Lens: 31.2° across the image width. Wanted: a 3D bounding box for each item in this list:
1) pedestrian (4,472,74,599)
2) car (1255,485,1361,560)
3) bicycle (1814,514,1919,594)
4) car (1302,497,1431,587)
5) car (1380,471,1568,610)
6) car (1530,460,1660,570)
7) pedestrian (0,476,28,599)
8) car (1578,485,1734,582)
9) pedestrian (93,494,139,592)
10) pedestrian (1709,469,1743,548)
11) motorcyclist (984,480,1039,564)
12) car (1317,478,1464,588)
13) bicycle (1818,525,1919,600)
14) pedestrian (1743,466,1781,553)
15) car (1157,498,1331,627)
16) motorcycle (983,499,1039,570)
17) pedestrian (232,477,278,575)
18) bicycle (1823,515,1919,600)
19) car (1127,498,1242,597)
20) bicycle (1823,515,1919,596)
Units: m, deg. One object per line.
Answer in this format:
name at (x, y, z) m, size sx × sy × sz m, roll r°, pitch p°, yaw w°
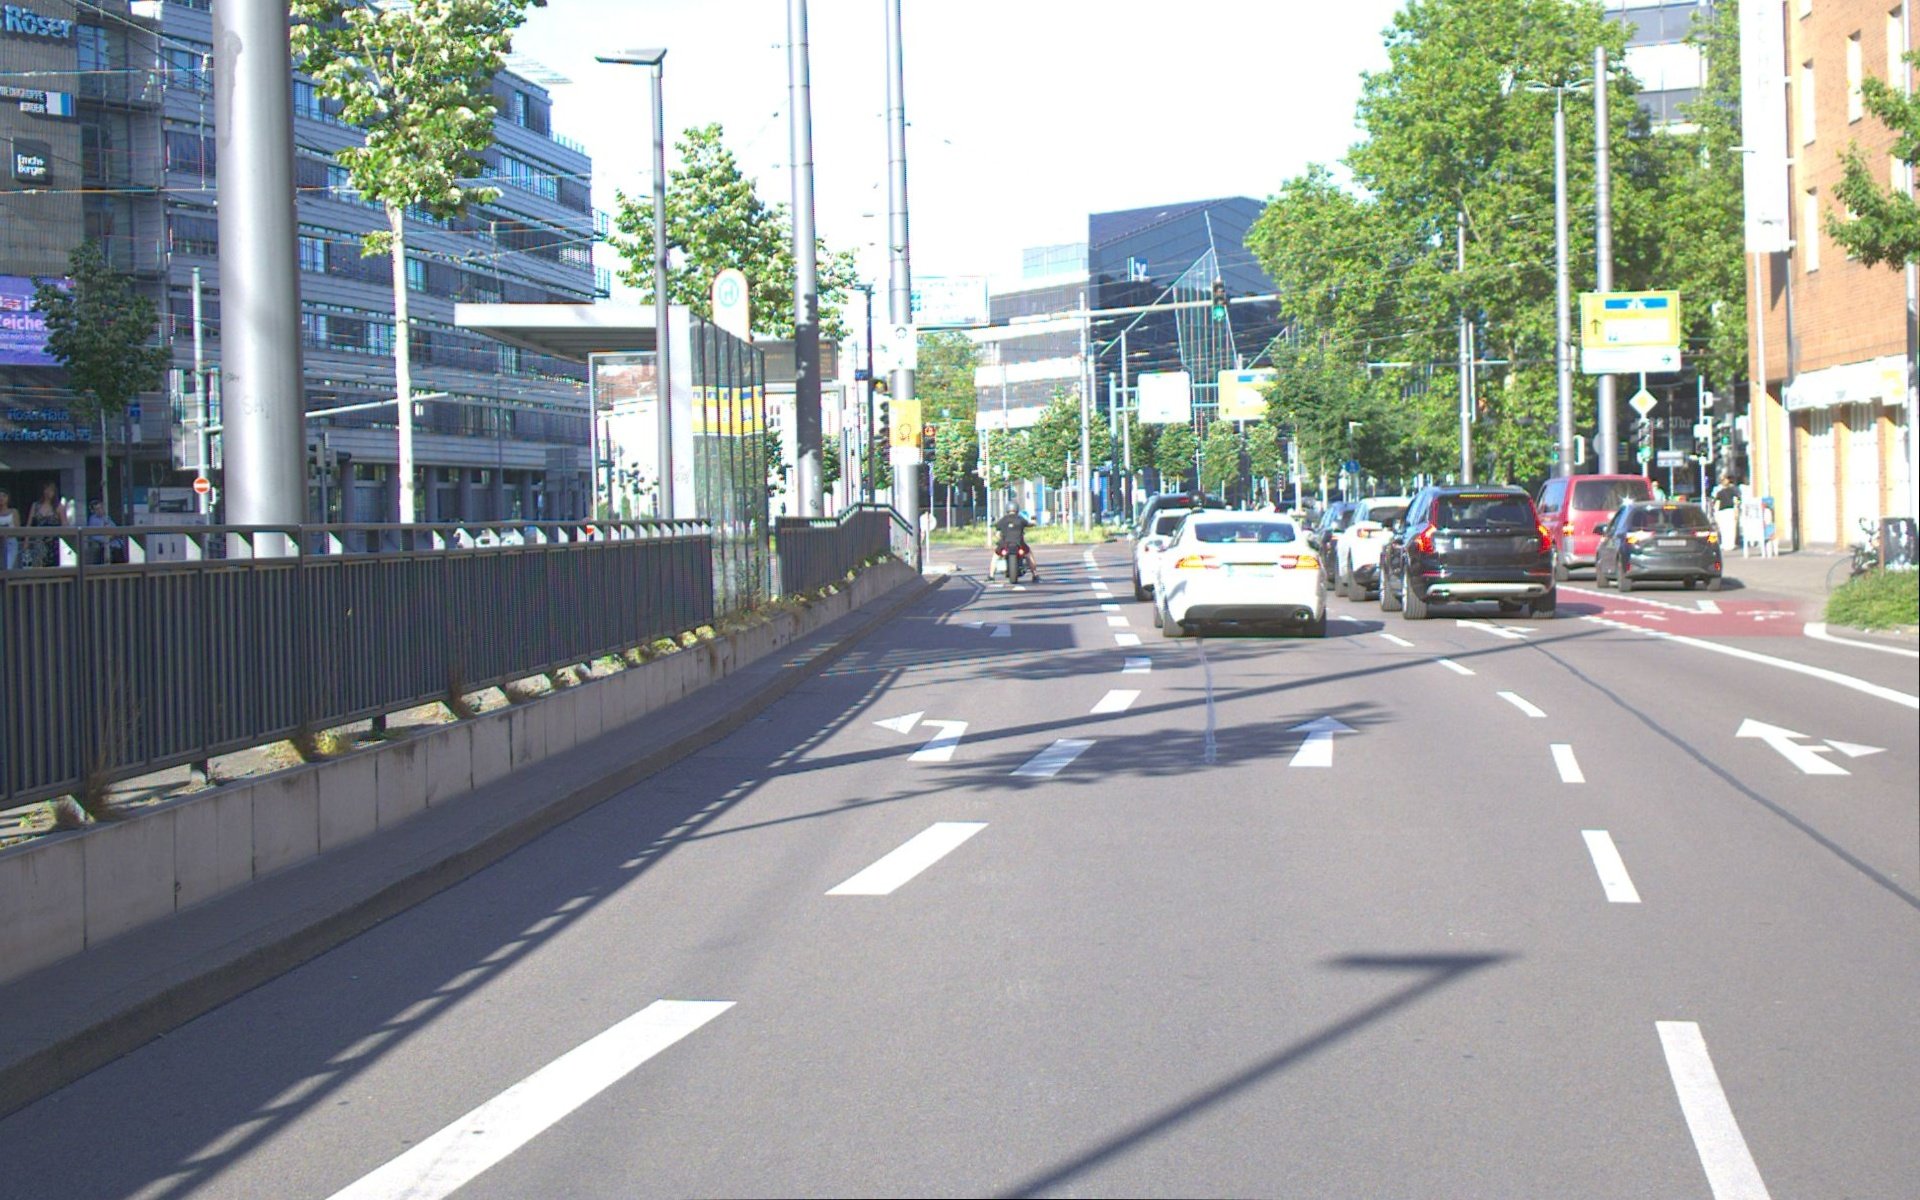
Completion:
pedestrian at (-12.090, -0.851, 45.144) m, size 0.640 × 1.637 × 0.945 m, roll 1°, pitch 2°, yaw 2°
car at (7.146, -1.619, 70.834) m, size 1.851 × 1.492 × 4.379 m, roll -1°, pitch 2°, yaw 2°
bicycle at (12.541, -0.626, 46.311) m, size 1.947 × 1.019 × 0.501 m, roll -2°, pitch 1°, yaw 19°
car at (7.103, -1.045, 60.393) m, size 1.851 × 1.492 × 4.379 m, roll -1°, pitch 2°, yaw 2°
car at (6.829, -0.829, 46.125) m, size 1.975 × 1.753 × 4.632 m, roll 1°, pitch 2°, yaw 2°
car at (11.911, -1.615, 64.693) m, size 1.860 × 1.954 × 4.000 m, roll -1°, pitch 2°, yaw 3°
pedestrian at (-12.727, -0.834, 45.238) m, size 0.640 × 1.602 × 0.945 m, roll 1°, pitch 2°, yaw 2°
car at (11.719, -1.149, 58.165) m, size 1.847 × 1.555 × 4.632 m, roll 1°, pitch 2°, yaw 2°
pedestrian at (-13.940, -0.939, 56.779) m, size 0.563 × 1.603 × 0.616 m, roll 0°, pitch 2°, yaw 2°
pedestrian at (17.690, -2.108, 79.383) m, size 0.606 × 1.815 × 0.748 m, roll -1°, pitch 1°, yaw 1°
motorcyclist at (0.996, -1.513, 66.453) m, size 1.019 × 1.598 × 1.148 m, roll 1°, pitch 2°, yaw 2°
car at (6.672, -1.058, 53.685) m, size 1.851 × 1.634 × 4.379 m, roll -1°, pitch 1°, yaw 2°
bicycle at (12.723, -0.521, 46.822) m, size 1.947 × 0.966 × 0.554 m, roll -2°, pitch 1°, yaw 19°
pedestrian at (16.936, -1.903, 72.612) m, size 0.606 × 1.815 × 0.748 m, roll -1°, pitch 1°, yaw 1°
car at (3.299, -0.489, 40.671) m, size 1.780 × 1.409 × 4.819 m, roll 1°, pitch 2°, yaw 2°
motorcycle at (0.997, -1.280, 66.390) m, size 1.019 × 1.307 × 2.914 m, roll 1°, pitch 2°, yaw 2°
pedestrian at (-13.218, -1.394, 64.472) m, size 0.614 × 1.811 × 0.897 m, roll 0°, pitch 2°, yaw 2°
bicycle at (13.084, -0.604, 48.036) m, size 1.946 × 1.133 × 0.490 m, roll -2°, pitch 1°, yaw 13°
car at (3.555, -0.873, 54.930) m, size 1.693 × 1.491 × 4.409 m, roll 1°, pitch 2°, yaw 2°
bicycle at (12.960, -0.631, 47.520) m, size 1.946 × 1.071 × 0.554 m, roll -2°, pitch 1°, yaw 13°
